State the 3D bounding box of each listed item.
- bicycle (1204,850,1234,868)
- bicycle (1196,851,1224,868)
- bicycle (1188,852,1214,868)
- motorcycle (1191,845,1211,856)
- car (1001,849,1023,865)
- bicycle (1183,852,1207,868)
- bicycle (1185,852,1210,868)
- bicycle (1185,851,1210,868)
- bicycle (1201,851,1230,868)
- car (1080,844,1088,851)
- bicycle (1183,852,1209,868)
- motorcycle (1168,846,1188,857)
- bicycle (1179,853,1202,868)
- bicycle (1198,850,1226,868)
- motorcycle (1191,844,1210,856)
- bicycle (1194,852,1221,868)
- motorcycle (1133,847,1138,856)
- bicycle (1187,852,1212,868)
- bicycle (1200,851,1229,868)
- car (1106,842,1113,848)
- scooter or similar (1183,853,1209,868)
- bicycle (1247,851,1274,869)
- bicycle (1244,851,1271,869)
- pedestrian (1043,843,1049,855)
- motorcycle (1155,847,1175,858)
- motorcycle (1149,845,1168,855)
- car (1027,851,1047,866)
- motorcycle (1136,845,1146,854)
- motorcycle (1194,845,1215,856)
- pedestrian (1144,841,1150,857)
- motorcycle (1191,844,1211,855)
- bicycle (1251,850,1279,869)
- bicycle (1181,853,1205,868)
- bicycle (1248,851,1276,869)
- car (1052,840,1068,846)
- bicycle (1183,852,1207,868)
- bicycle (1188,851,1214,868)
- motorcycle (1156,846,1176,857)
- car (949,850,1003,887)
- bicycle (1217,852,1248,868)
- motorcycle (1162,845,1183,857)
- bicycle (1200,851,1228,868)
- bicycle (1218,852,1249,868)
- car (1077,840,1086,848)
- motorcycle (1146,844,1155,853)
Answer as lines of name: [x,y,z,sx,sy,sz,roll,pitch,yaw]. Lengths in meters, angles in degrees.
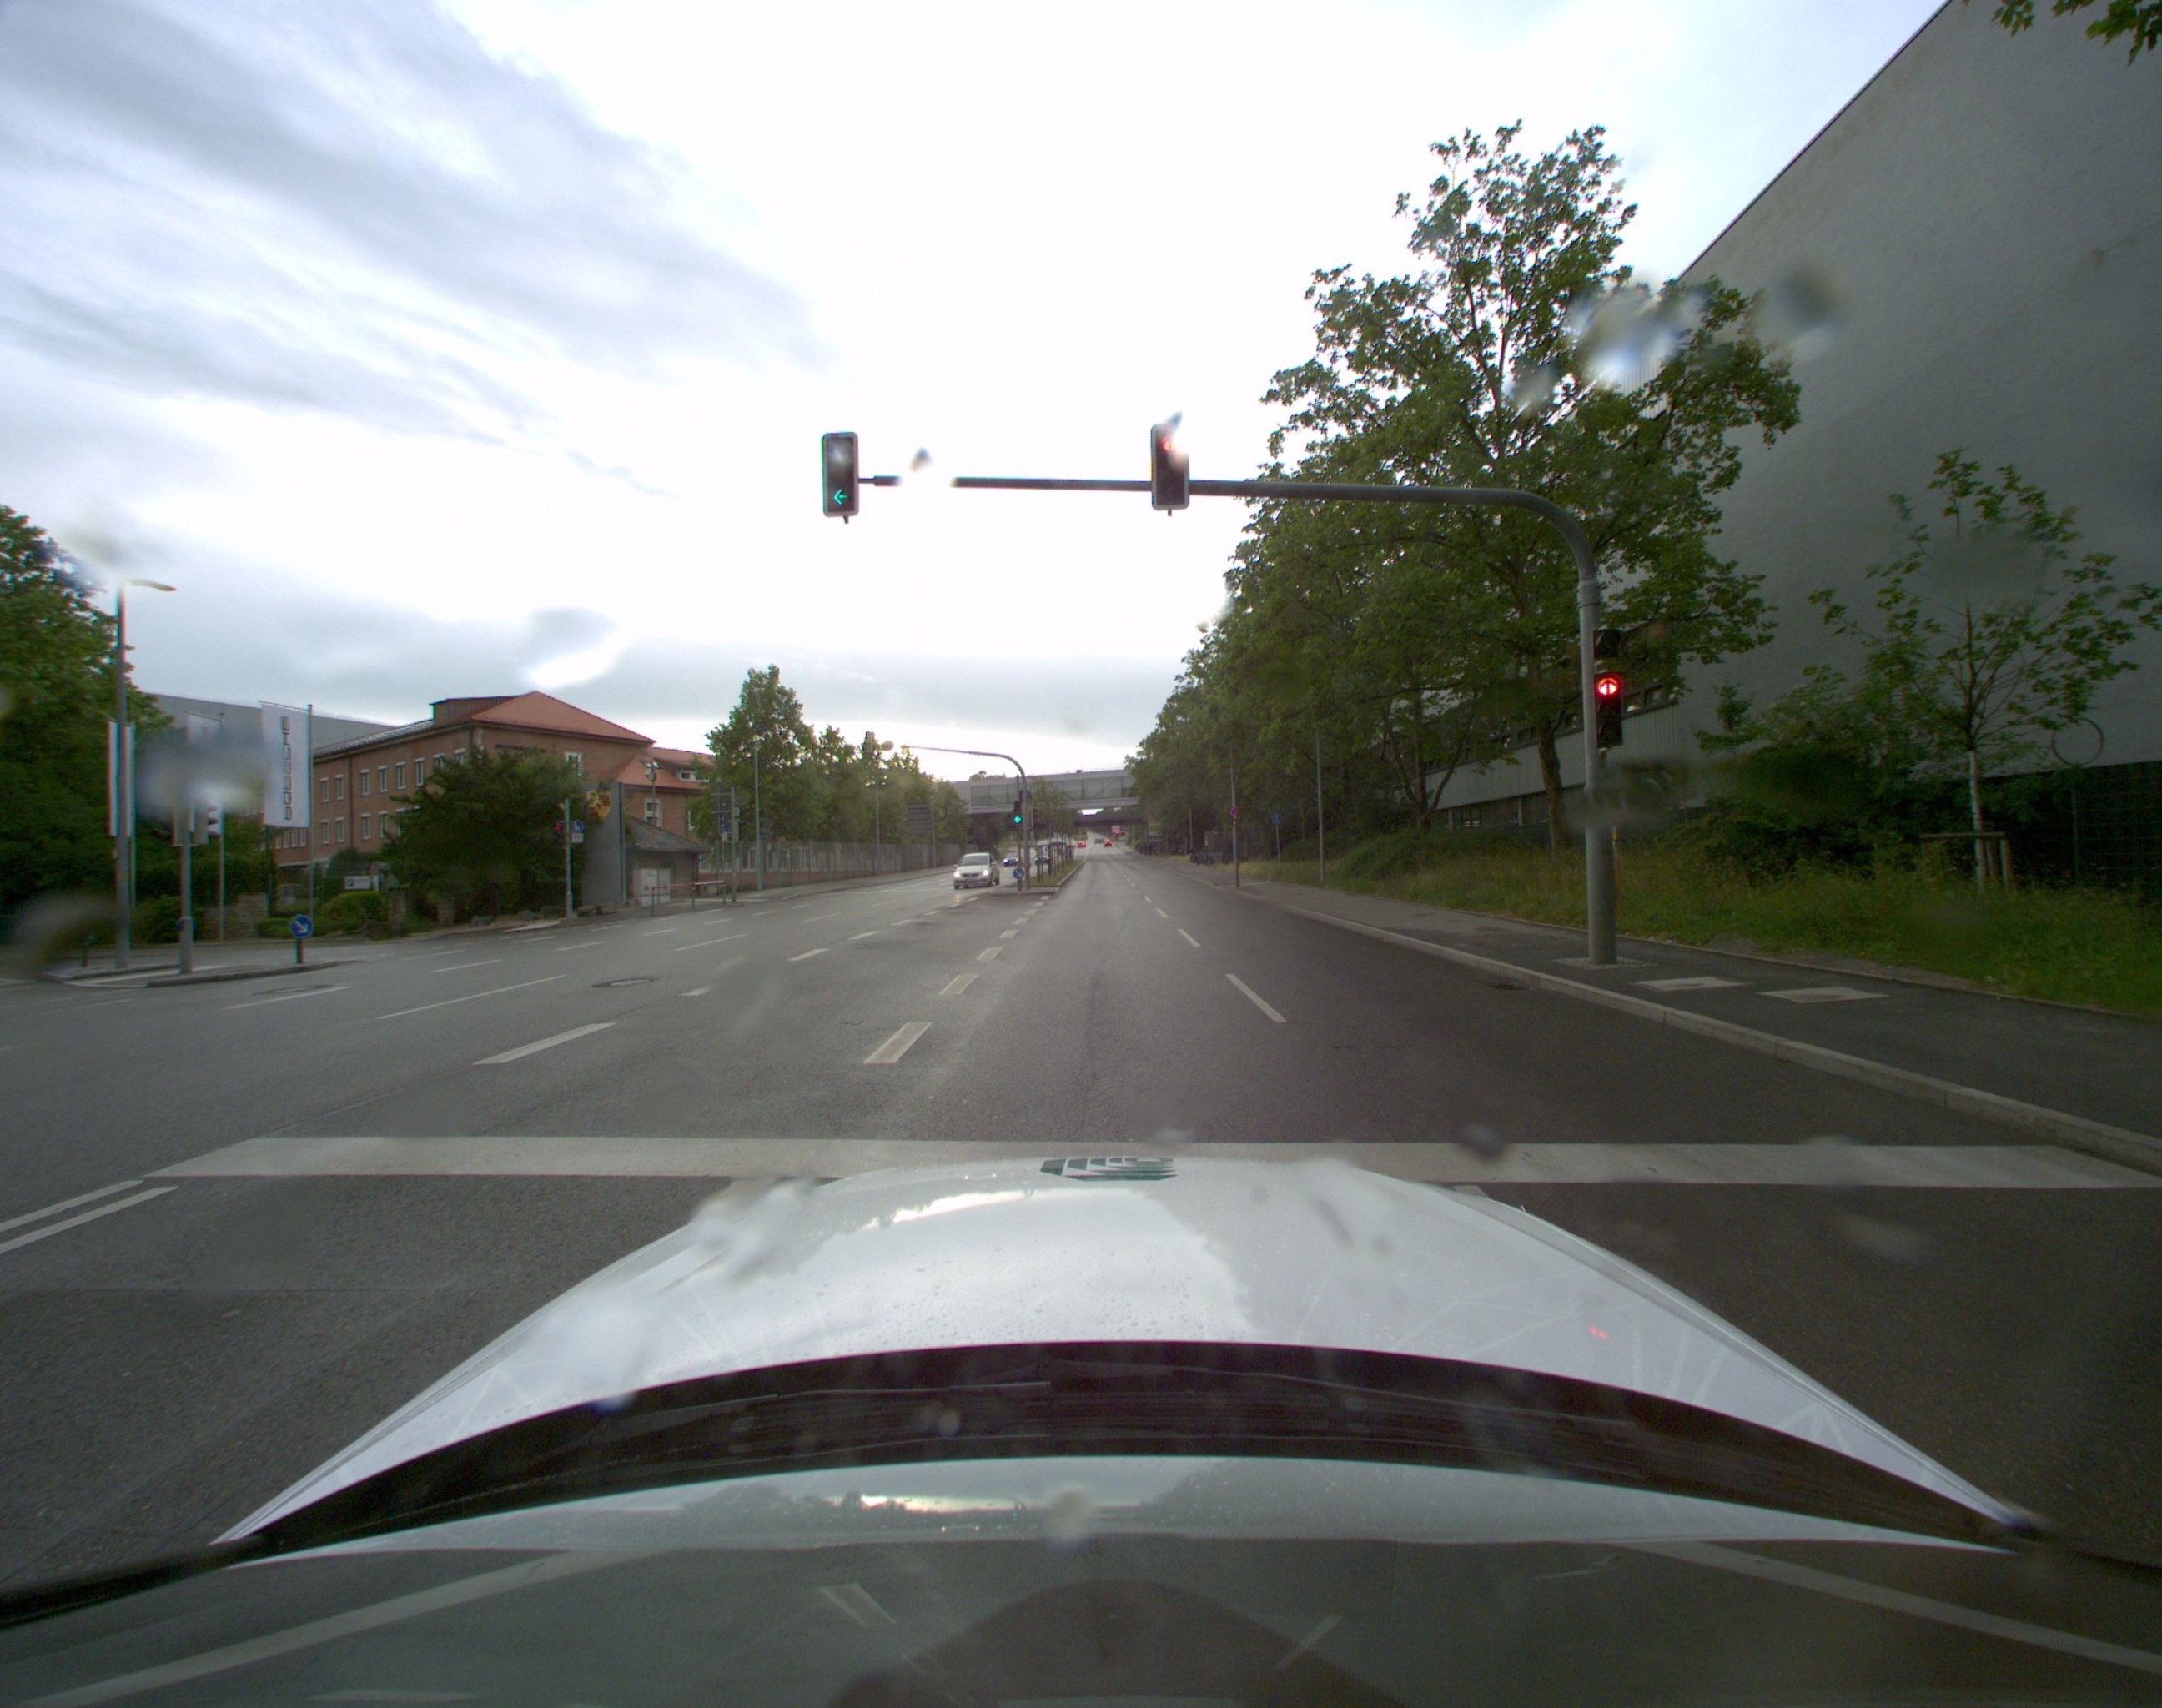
bicycle: [9.479,0.369,55.902,1.982,1.216,0.541,0,-1,2]
bicycle: [9.625,0.434,60.861,1.982,1.242,0.541,0,-1,2]
bicycle: [9.305,0.467,63.193,1.982,1.242,0.541,0,-1,2]
motorcycle: [14.753,-0.400,100.095,2.354,1.202,0.724,-3,0,9]
car: [-7.398,0.313,88.058,1.870,1.624,3.780,-2,0,2]
bicycle: [9.834,0.539,70.379,1.953,1.328,0.576,0,-1,2]
bicycle: [9.563,0.494,66.847,1.982,1.328,0.576,0,-1,2]
bicycle: [9.629,0.443,67.580,1.982,1.430,0.723,0,-1,2]
bicycle: [9.616,0.395,58.090,1.982,1.233,0.541,0,-1,2]
car: [0.727,-1.786,212.883,1.877,1.762,3.970,0,-1,2]
bicycle: [9.304,0.478,65.909,1.982,1.328,0.576,0,-1,2]
motorcycle: [11.542,-0.321,96.866,2.354,1.202,0.724,-3,0,9]
bicycle: [9.996,0.602,74.386,1.955,1.328,0.654,0,-1,2]
bicycle: [9.697,0.357,60.168,1.982,1.340,0.541,0,-1,2]
motorcycle: [15.721,-0.557,106.957,2.354,1.476,0.724,-3,0,9]
bicycle: [9.630,0.450,61.896,1.982,1.242,0.541,0,-1,2]
motorcycle: [9.673,-0.518,144.735,0.787,1.533,2.376,-3,0,0]
bicycle: [9.957,0.509,68.426,1.982,1.328,0.576,0,-1,2]
bicycle: [9.660,0.404,58.916,1.982,1.242,0.541,0,-1,2]
car: [7.119,-2.291,203.181,1.868,1.497,4.070,0,-1,2]
scooter or similar: [9.029,0.514,63.991,1.982,1.138,0.541,0,-1,2]
bicycle: [13.754,0.459,62.525,1.982,1.328,0.576,0,-1,2]
bicycle: [13.822,0.480,63.841,1.982,1.328,0.576,0,-1,2]
pedestrian: [-5.650,-0.794,131.969,0.867,2.004,0.856,-3,0,6]
motorcycle: [10.321,-0.198,99.805,2.354,1.202,0.724,-3,0,9]
motorcycle: [10.057,-0.481,105.494,2.354,1.202,0.724,-3,0,9]
car: [-4.850,0.484,89.963,1.870,1.624,3.780,-2,0,2]
motorcycle: [9.229,-0.736,125.442,0.792,1.311,2.363,-3,0,-16]
motorcycle: [14.980,-0.452,98.828,2.354,1.202,0.724,-3,0,9]
pedestrian: [8.614,-0.682,106.250,0.619,2.013,0.606,-3,0,2]
motorcycle: [14.957,-0.526,101.209,2.354,1.202,0.724,-3,0,9]
bicycle: [13.493,0.414,59.773,1.982,1.328,0.576,0,-1,2]
bicycle: [9.770,0.549,71.070,1.955,1.328,0.654,0,-1,2]
bicycle: [13.732,0.448,61.860,1.982,1.328,0.576,0,-1,2]
car: [-6.157,-3.165,236.476,4.493,1.762,1.906,0,-1,2]
bicycle: [9.654,0.530,69.145,1.982,1.328,0.576,0,-1,2]
bicycle: [9.600,0.467,65.092,1.982,1.328,0.576,0,-1,2]
motorcycle: [10.609,-0.300,101.572,2.354,1.202,0.724,-3,0,9]
car: [-4.979,0.665,39.096,1.870,1.624,3.780,-2,0,2]
bicycle: [10.112,0.412,54.426,1.982,1.094,0.541,0,-1,2]
motorcycle: [10.629,-0.332,94.742,2.354,1.202,0.724,-3,0,9]
bicycle: [9.687,0.413,59.490,1.982,1.242,0.541,0,-1,2]
bicycle: [10.093,0.403,53.858,1.982,1.094,0.541,0,-1,2]
car: [0.189,-2.547,207.034,1.986,1.762,4.002,0,-1,2]
motorcycle: [10.422,-0.800,122.265,0.789,1.311,2.371,-3,0,-7]
